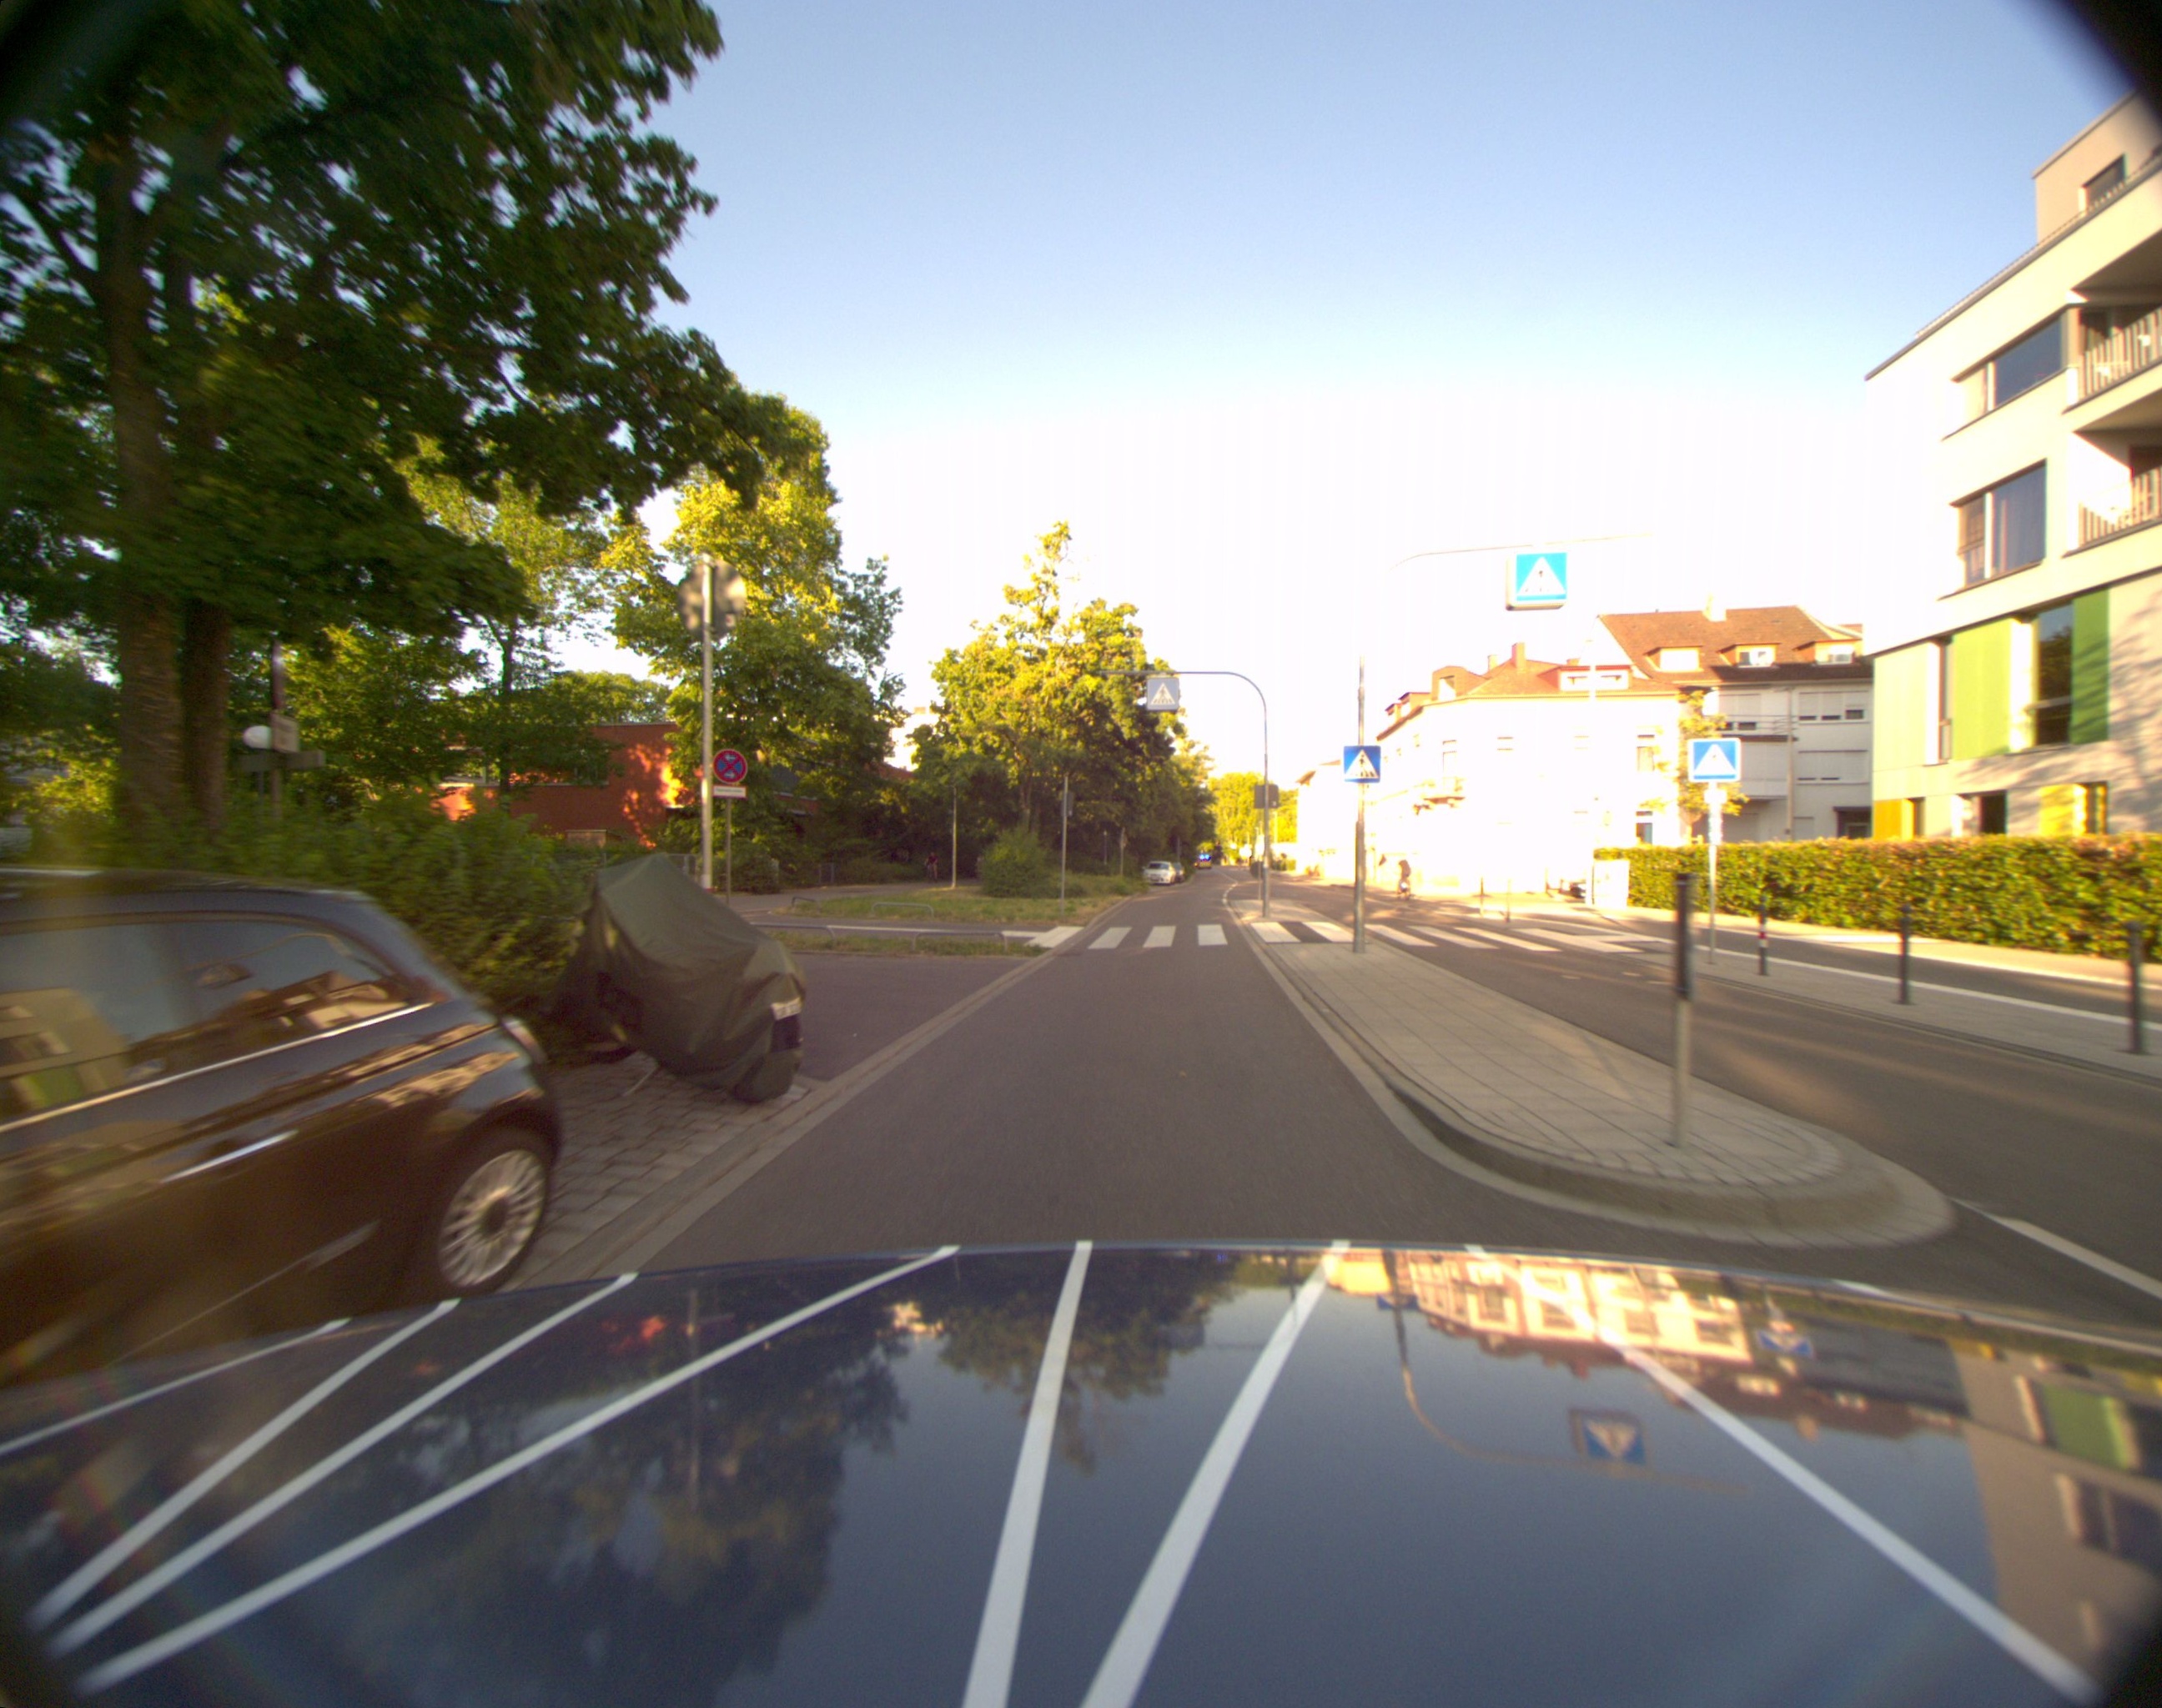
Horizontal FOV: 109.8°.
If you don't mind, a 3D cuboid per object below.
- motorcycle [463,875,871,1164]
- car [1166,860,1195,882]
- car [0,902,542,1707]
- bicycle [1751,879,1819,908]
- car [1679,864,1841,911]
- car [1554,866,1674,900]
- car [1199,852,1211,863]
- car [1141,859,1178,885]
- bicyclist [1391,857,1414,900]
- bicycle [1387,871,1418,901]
[{"bbox_3d":[-2.685,0.937,5.011,2.294,1.536,1.041,1,0,17],"label":"motorcycle"},{"bbox_3d":[7.066,1.141,53.521,1.751,1.478,4.513,0,0,11],"label":"car"},{"bbox_3d":[-2.890,0.929,1.164,1.623,1.478,3.419,1,0,2],"label":"car"},{"bbox_3d":[22.917,1.287,24.749,1.601,0.887,0.512,0,0,7],"label":"bicycle"},{"bbox_3d":[24.309,1.160,27.349,3.912,1.431,1.819,0,5,10],"label":"car"},{"bbox_3d":[23.526,1.276,33.693,3.913,1.430,1.905,0,0,7],"label":"car"},{"bbox_3d":[23.762,0.671,145.048,2.227,2.002,4.894,0,0,10],"label":"car"},{"bbox_3d":[4.915,1.080,47.212,1.750,1.478,4.180,2,0,12],"label":"car"},{"bbox_3d":[12.271,0.918,28.995,0.627,1.635,0.758,0,0,9],"label":"bicyclist"},{"bbox_3d":[12.296,1.218,29.136,0.635,1.072,1.885,0,0,8],"label":"bicycle"}]
